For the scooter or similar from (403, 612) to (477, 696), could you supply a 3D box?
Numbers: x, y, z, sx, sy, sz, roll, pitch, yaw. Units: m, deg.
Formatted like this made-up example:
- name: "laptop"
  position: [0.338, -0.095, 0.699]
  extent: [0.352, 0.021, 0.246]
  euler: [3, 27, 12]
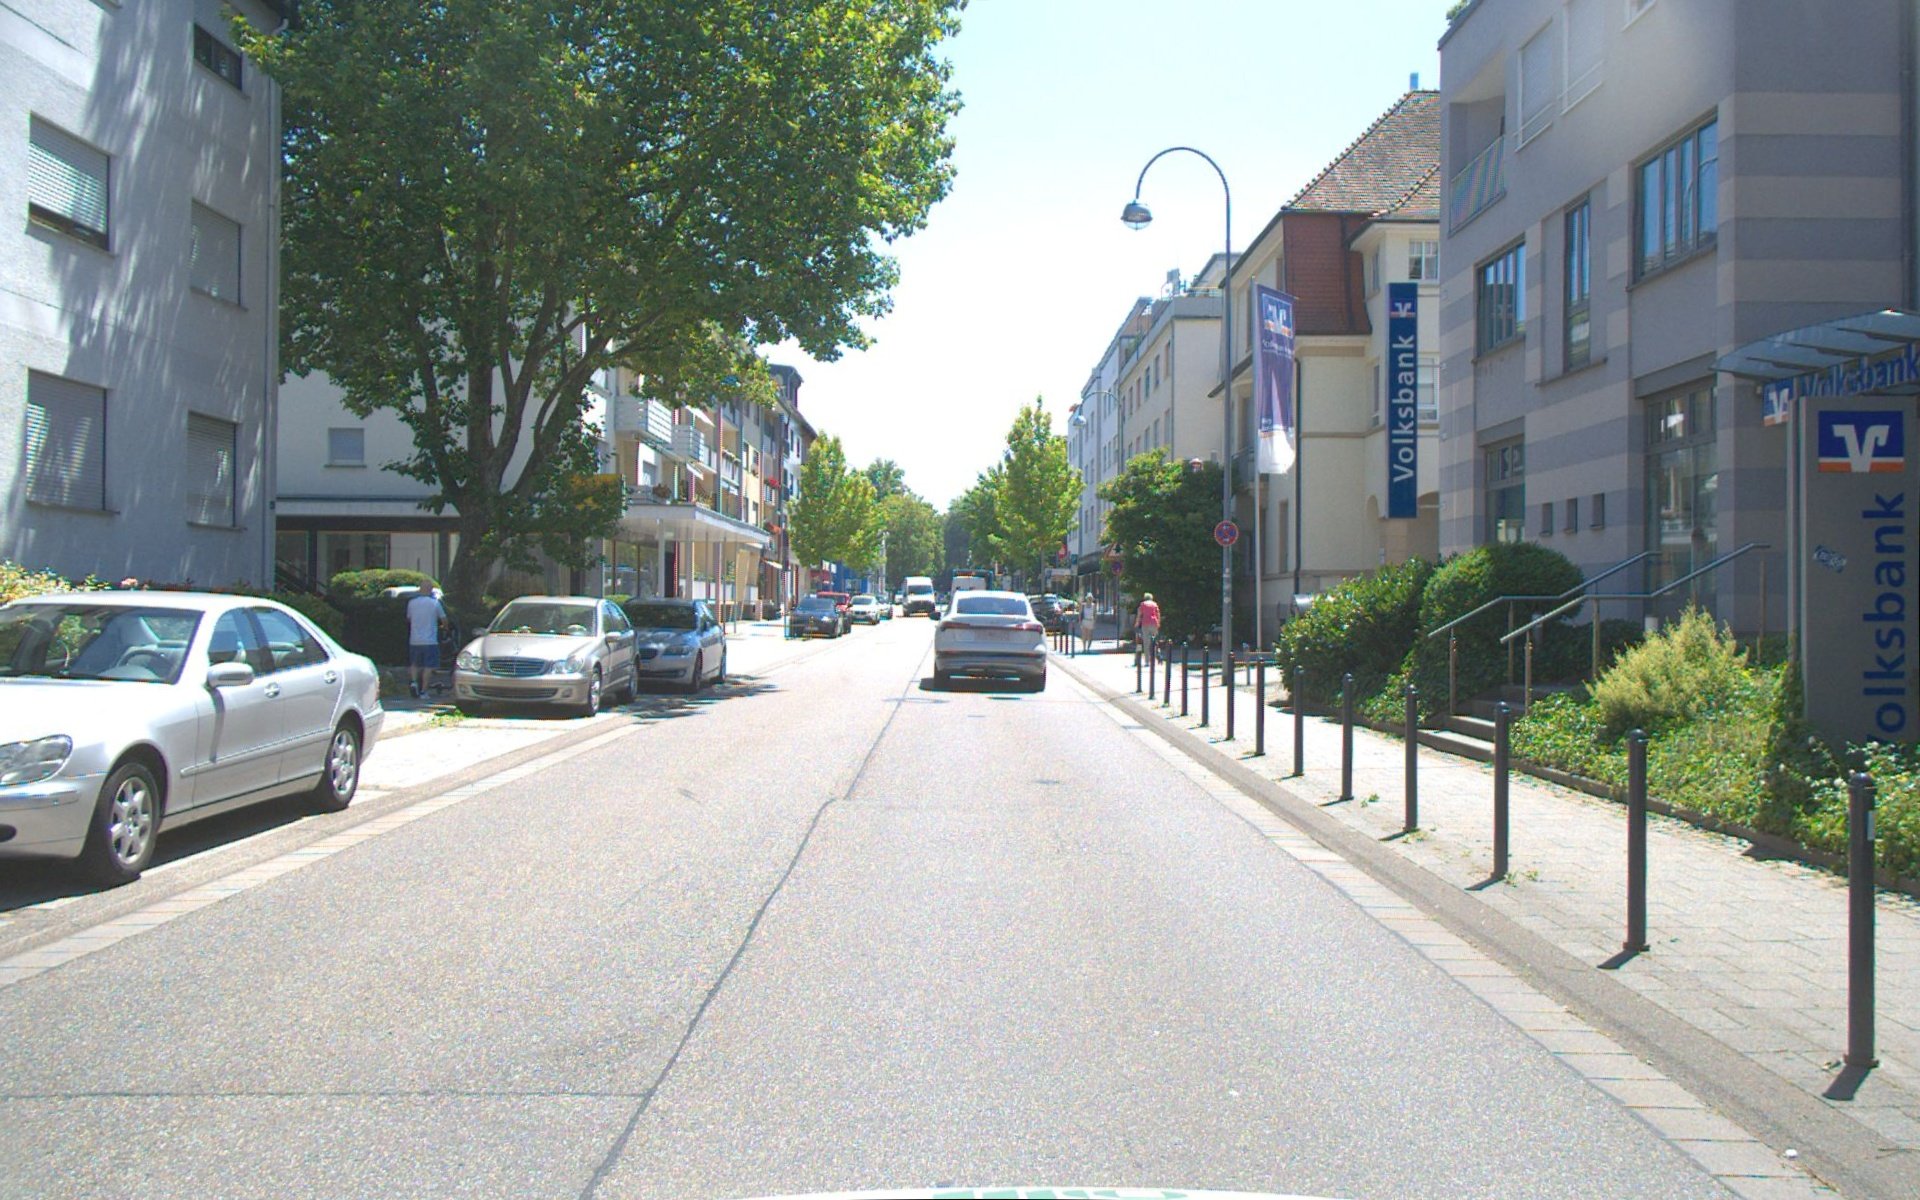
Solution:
- name: "scooter or similar"
  position: [-7.331, 0.754, 23.363]
  extent: [0.649, 1.117, 1.028]
  euler: [2, 0, 1]

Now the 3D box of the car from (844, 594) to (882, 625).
- name: "car"
  position: [-5.398, 0.530, 92.733]
  extent: [1.716, 1.646, 4.401]
  euler: [3, 0, 1]

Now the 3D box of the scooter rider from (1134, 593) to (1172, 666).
- name: "scooter rider"
  position: [4.236, 0.634, 36.281]
  extent: [0.701, 1.576, 0.770]
  euler: [-1, 0, -2]

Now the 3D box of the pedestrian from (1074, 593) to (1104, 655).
- name: "pedestrian"
  position: [3.553, 0.654, 45.508]
  extent: [0.686, 1.655, 0.783]
  euler: [-2, -1, -2]

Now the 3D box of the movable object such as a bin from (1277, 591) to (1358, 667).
- name: "movable object such as a bin"
  position: [7.434, 0.592, 34.476]
  extent: [1.339, 1.484, 1.381]
  euler: [-3, 0, 1]

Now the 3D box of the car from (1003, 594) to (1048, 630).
- name: "car"
  position: [3.193, 0.577, 81.662]
  extent: [1.818, 1.704, 4.534]
  euler: [-1, 0, -3]

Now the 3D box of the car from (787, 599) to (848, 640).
- name: "car"
  position: [-5.382, 0.709, 62.947]
  extent: [1.857, 1.442, 5.047]
  euler: [3, 0, -1]

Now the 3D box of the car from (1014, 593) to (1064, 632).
- name: "car"
  position: [3.625, 0.569, 76.319]
  extent: [1.858, 1.704, 4.688]
  euler: [-1, 0, -3]

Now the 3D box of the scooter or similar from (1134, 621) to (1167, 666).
- name: "scooter or similar"
  position: [4.247, 0.965, 36.927]
  extent: [0.650, 0.980, 0.754]
  euler: [0, 0, 0]

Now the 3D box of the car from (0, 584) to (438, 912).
- name: "car"
  position: [-5.090, 0.663, 10.257]
  extent: [1.940, 1.477, 5.357]
  euler: [1, 0, 0]

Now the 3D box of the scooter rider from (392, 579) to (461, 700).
- name: "scooter rider"
  position: [-7.338, 0.530, 22.770]
  extent: [0.576, 1.602, 0.877]
  euler: [3, 0, 1]

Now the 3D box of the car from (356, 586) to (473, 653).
- name: "car"
  position: [-13.066, 0.428, 39.482]
  extent: [1.871, 1.512, 3.955]
  euler: [0, 0, -30]

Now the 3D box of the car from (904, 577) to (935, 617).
- name: "car"
  position: [-2.759, -0.202, 114.295]
  extent: [1.995, 2.676, 7.106]
  euler: [-1, 0, 0]

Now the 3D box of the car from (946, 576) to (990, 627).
- name: "car"
  position: [0.389, 0.091, 85.742]
  extent: [2.112, 2.484, 5.283]
  euler: [2, 0, 0]

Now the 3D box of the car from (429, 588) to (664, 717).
- name: "car"
  position: [-5.324, 0.621, 21.979]
  extent: [1.941, 1.477, 4.867]
  euler: [1, 0, -1]

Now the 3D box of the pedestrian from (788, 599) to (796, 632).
- name: "pedestrian"
  position: [-8.900, 0.812, 87.773]
  extent: [0.387, 1.765, 0.444]
  euler: [0, 0, -11]

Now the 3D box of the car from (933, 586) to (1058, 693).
- name: "car"
  position: [0.542, 0.638, 28.732]
  extent: [1.953, 1.661, 3.999]
  euler: [2, 0, -1]

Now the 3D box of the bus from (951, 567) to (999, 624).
- name: "bus"
  position: [0.960, -0.220, 101.911]
  extent: [2.605, 3.277, 7.303]
  euler: [2, 0, 2]

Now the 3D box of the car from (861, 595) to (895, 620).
- name: "car"
  position: [-5.111, 0.475, 103.601]
  extent: [1.716, 1.478, 4.401]
  euler: [3, 0, 2]

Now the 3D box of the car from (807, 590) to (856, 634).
- name: "car"
  position: [-5.351, 0.483, 69.423]
  extent: [1.717, 1.732, 4.101]
  euler: [3, 0, -1]

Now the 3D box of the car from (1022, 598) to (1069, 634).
- name: "car"
  position: [3.591, 0.664, 70.178]
  extent: [1.857, 1.463, 4.545]
  euler: [0, 0, 1]

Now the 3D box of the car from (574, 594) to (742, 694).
- name: "car"
  position: [-4.951, 0.663, 27.876]
  extent: [1.941, 1.477, 5.149]
  euler: [1, 0, -1]
